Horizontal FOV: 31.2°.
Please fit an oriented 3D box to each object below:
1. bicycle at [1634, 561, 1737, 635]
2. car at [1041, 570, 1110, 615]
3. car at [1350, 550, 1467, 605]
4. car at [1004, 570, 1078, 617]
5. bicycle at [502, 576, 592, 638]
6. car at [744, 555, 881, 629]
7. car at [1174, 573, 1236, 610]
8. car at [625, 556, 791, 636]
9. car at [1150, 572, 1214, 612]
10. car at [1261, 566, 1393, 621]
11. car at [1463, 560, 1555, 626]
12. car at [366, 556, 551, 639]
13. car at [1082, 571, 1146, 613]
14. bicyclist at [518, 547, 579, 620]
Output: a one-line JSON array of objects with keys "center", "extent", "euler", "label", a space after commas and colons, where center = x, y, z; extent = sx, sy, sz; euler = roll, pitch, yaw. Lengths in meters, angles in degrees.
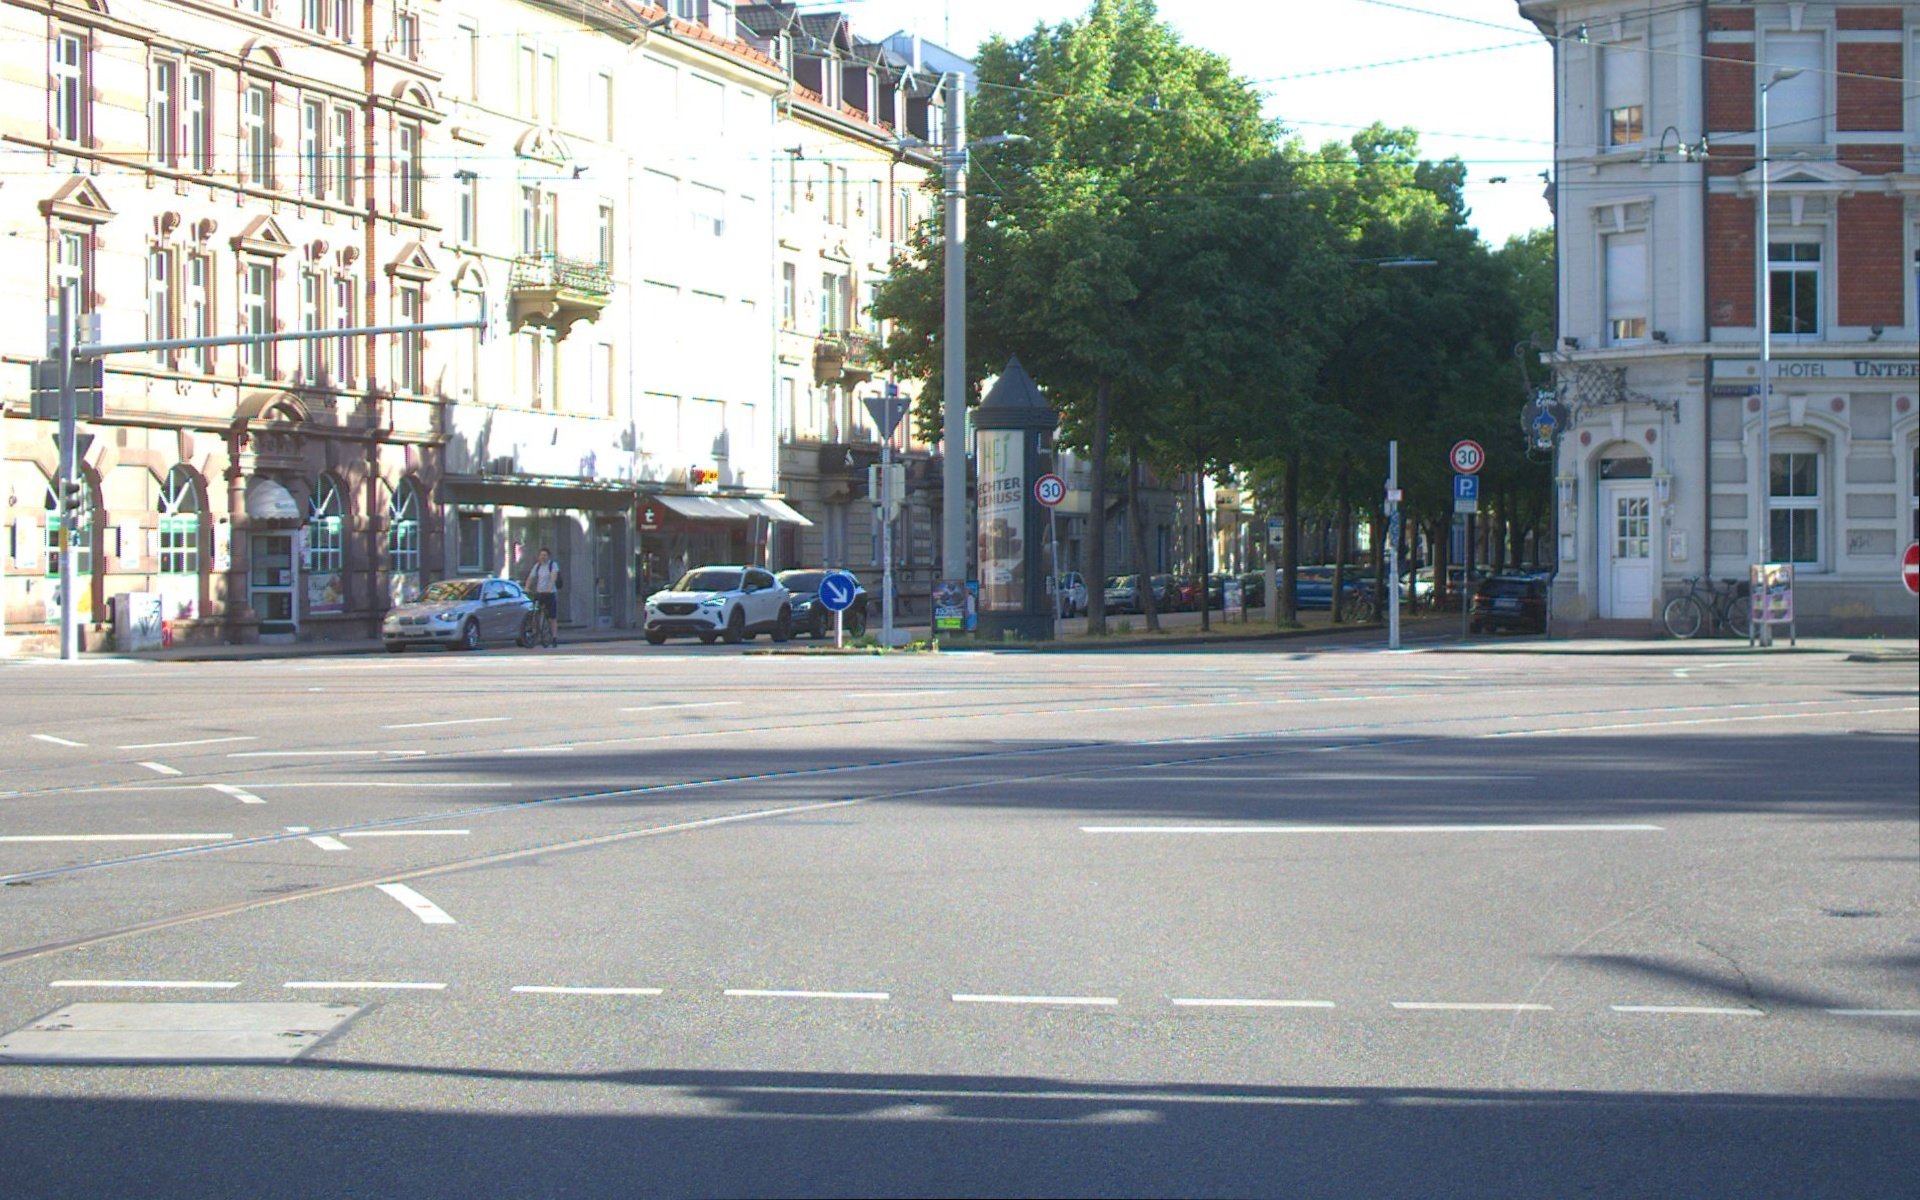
[{"center": [12.065, -0.038, 57.144], "extent": [1.639, 1.218, 0.606], "euler": [0, 1, 16], "label": "bicycle"}, {"center": [3.923, -0.257, 115.816], "extent": [1.741, 1.393, 4.122], "euler": [3, 1, 9], "label": "car"}, {"center": [17.411, -0.881, 133.434], "extent": [4.115, 1.912, 1.744], "euler": [3, 1, 21], "label": "car"}, {"center": [2.599, -0.217, 110.011], "extent": [1.741, 1.393, 4.122], "euler": [3, 1, 9], "label": "car"}, {"center": [-7.863, 0.127, 65.638], "extent": [0.751, 1.131, 2.808], "euler": [0, 1, 14], "label": "bicycle"}, {"center": [-3.126, -0.191, 73.543], "extent": [1.994, 1.508, 3.998], "euler": [0, 1, 12], "label": "car"}, {"center": [9.728, -0.350, 136.396], "extent": [1.742, 1.393, 4.121], "euler": [3, 1, 13], "label": "car"}, {"center": [-4.875, -0.104, 67.176], "extent": [2.098, 1.494, 3.998], "euler": [0, 1, 14], "label": "car"}, {"center": [8.510, -0.315, 131.618], "extent": [1.742, 1.393, 4.121], "euler": [3, 1, 13], "label": "car"}, {"center": [12.294, -0.229, 115.236], "extent": [4.113, 1.640, 1.745], "euler": [3, 1, 15], "label": "car"}, {"center": [13.171, -0.160, 82.296], "extent": [1.652, 1.519, 3.750], "euler": [0, 0, 17], "label": "car"}, {"center": [-9.774, -0.071, 67.390], "extent": [2.098, 1.540, 4.361], "euler": [0, 1, 14], "label": "car"}, {"center": [5.510, -0.304, 122.793], "extent": [1.741, 1.393, 4.122], "euler": [3, 1, 9], "label": "car"}, {"center": [-7.850, -0.315, 65.601], "extent": [0.794, 1.370, 1.107], "euler": [0, 1, 14], "label": "bicyclist"}]
